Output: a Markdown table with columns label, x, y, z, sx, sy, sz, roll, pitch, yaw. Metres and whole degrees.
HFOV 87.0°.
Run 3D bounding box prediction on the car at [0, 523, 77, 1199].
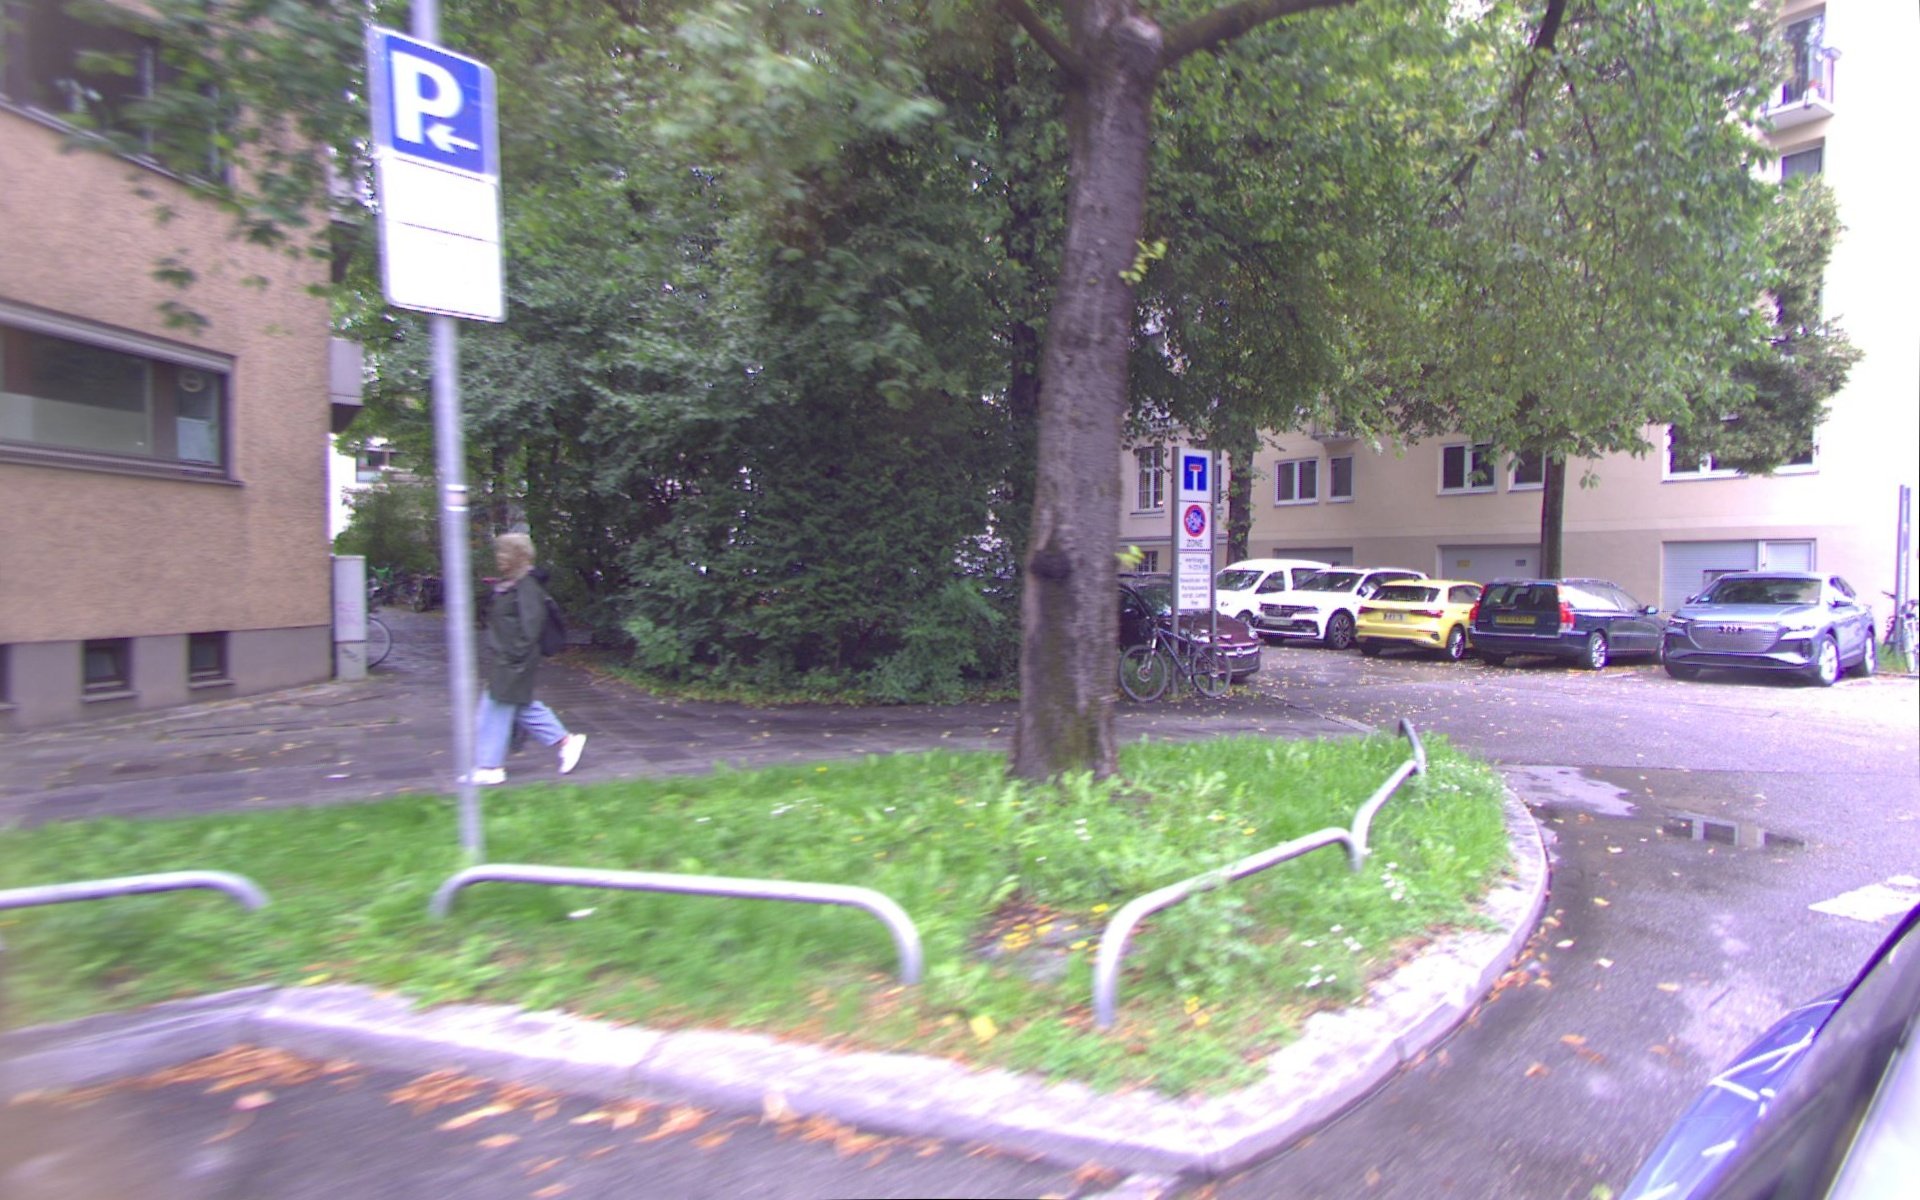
| label | x | y | z | sx | sy | sz | roll | pitch | yaw |
| --- | --- | --- | --- | --- | --- | --- | --- | --- | --- |
| car | -3.684 | 0.662 | 0.774 | 4.292 | 1.514 | 1.799 | -1 | 5 | -34 |

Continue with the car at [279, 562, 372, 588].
| label | x | y | z | sx | sy | sz | roll | pitch | yaw |
| --- | --- | --- | --- | --- | --- | --- | --- | --- | --- |
| car | -32.320 | -1.294 | 51.701 | 3.920 | 1.274 | 1.819 | -1 | 2 | -29 |

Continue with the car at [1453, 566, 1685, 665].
| label | x | y | z | sx | sy | sz | roll | pitch | yaw |
| --- | --- | --- | --- | --- | --- | --- | --- | --- | --- |
| car | 10.551 | 0.167 | 17.446 | 4.168 | 1.485 | 2.054 | -2 | 2 | -38 |

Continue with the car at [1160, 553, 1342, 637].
| label | x | y | z | sx | sy | sz | roll | pitch | yaw |
| --- | --- | --- | --- | --- | --- | --- | --- | --- | --- |
| car | 6.762 | -0.176 | 23.350 | 4.167 | 1.772 | 1.918 | -1 | 2 | -37 |

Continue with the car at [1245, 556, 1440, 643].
| label | x | y | z | sx | sy | sz | roll | pitch | yaw |
| --- | --- | --- | --- | --- | --- | --- | --- | --- | --- |
| car | 8.018 | -0.084 | 21.071 | 4.168 | 1.640 | 1.917 | -2 | 2 | -38 |

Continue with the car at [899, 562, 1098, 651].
| label | x | y | z | sx | sy | sz | roll | pitch | yaw |
| --- | --- | --- | --- | --- | --- | --- | --- | --- | --- |
| car | 0.632 | 0.050 | 19.434 | 1.701 | 1.515 | 4.045 | -1 | 2 | -36 |

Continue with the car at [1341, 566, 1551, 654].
| label | x | y | z | sx | sy | sz | roll | pitch | yaw |
| --- | --- | --- | --- | --- | --- | --- | --- | --- | --- |
| car | 9.243 | 0.101 | 19.145 | 4.168 | 1.485 | 1.917 | -2 | 2 | -38 |

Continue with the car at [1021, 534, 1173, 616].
| label | x | y | z | sx | sy | sz | roll | pitch | yaw |
| --- | --- | --- | --- | --- | --- | --- | --- | --- | --- |
| car | 4.072 | -0.757 | 30.340 | 4.093 | 2.342 | 1.908 | -1 | 1 | -12 |

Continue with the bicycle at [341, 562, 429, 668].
| label | x | y | z | sx | sy | sz | roll | pitch | yaw |
| --- | --- | --- | --- | --- | --- | --- | --- | --- | --- |
| bicycle | -7.426 | 0.129 | 13.007 | 0.691 | 1.232 | 2.431 | -1 | 2 | -36 |

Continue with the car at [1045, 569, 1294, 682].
| label | x | y | z | sx | sy | sz | roll | pitch | yaw |
| --- | --- | --- | --- | --- | --- | --- | --- | --- | --- |
| car | 3.114 | 0.285 | 15.691 | 1.700 | 1.515 | 3.711 | -1 | 2 | -32 |

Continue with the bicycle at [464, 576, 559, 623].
| label | x | y | z | sx | sy | sz | roll | pitch | yaw |
| --- | --- | --- | --- | --- | --- | --- | --- | --- | --- |
| bicycle | -9.292 | -0.028 | 21.026 | 0.532 | 0.924 | 1.731 | 1 | 2 | 45 |

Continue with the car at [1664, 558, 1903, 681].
| label | x | y | z | sx | sy | sz | roll | pitch | yaw |
| --- | --- | --- | --- | --- | --- | --- | --- | --- | --- |
| car | 12.232 | 0.182 | 14.955 | 4.168 | 1.584 | 1.825 | -2 | 2 | -38 |

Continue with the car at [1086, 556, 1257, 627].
| label | x | y | z | sx | sy | sz | roll | pitch | yaw |
| --- | --- | --- | --- | --- | --- | --- | --- | --- | --- |
| car | 5.335 | -0.264 | 25.341 | 4.167 | 1.619 | 1.918 | -1 | 2 | -37 |

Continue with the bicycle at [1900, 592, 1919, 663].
| label | x | y | z | sx | sy | sz | roll | pitch | yaw |
| --- | --- | --- | --- | --- | --- | --- | --- | --- | --- |
| bicycle | 15.273 | 0.430 | 16.063 | 1.216 | 1.074 | 0.282 | -1 | 2 | -37 |

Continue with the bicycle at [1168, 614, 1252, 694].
| label | x | y | z | sx | sy | sz | roll | pitch | yaw |
| --- | --- | --- | --- | --- | --- | --- | --- | --- | --- |
| bicycle | 2.965 | 0.629 | 11.987 | 1.057 | 0.891 | 0.250 | -1 | 1 | -27 |

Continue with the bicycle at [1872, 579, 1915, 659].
| label | x | y | z | sx | sy | sz | roll | pitch | yaw |
| --- | --- | --- | --- | --- | --- | --- | --- | --- | --- |
| bicycle | 15.152 | 0.294 | 16.425 | 1.216 | 1.246 | 0.282 | -1 | 2 | -37 |

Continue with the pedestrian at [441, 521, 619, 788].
| label | x | y | z | sx | sy | sz | roll | pitch | yaw |
| --- | --- | --- | --- | --- | --- | --- | --- | --- | --- |
| pedestrian | -2.872 | 0.313 | 6.753 | 0.961 | 1.644 | 0.673 | -2 | 2 | -32 |
